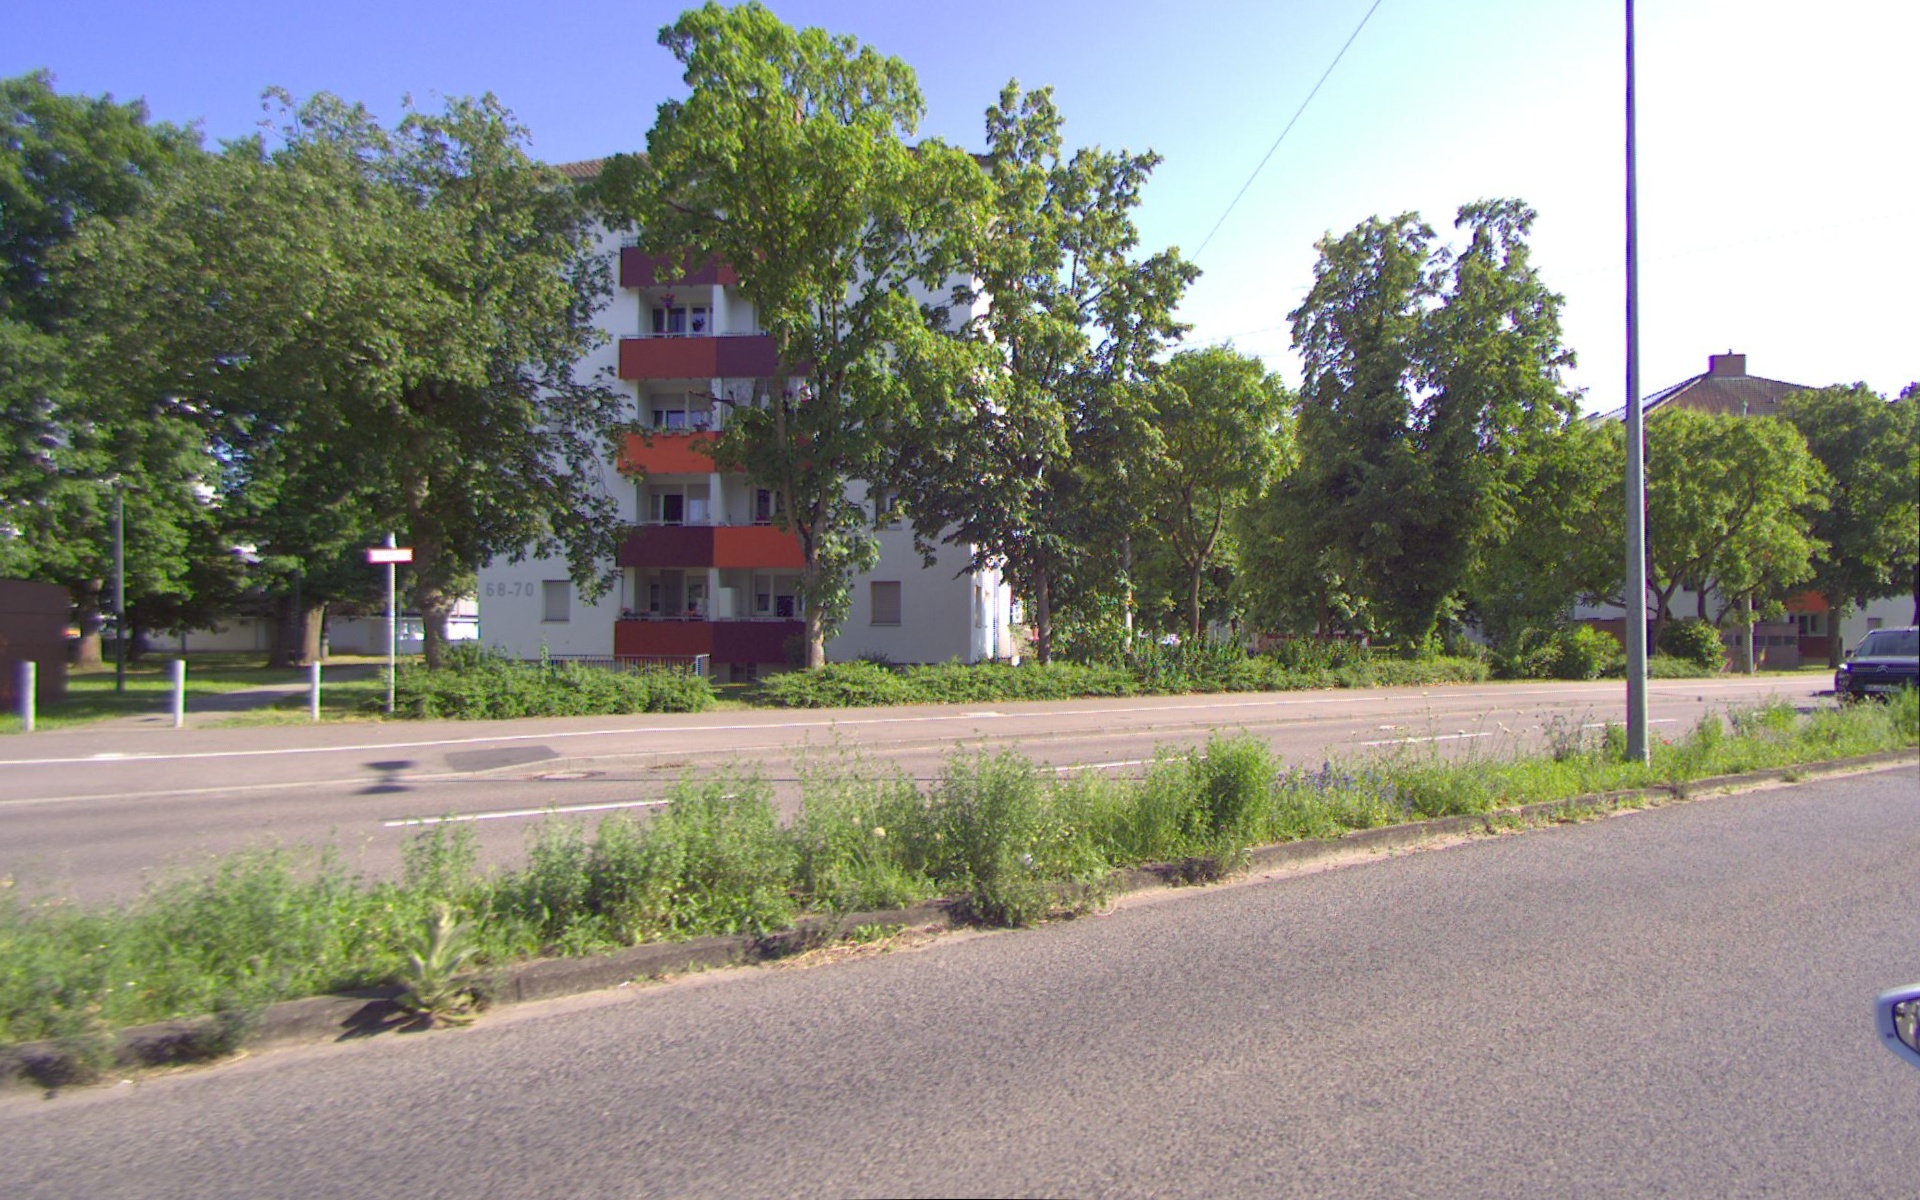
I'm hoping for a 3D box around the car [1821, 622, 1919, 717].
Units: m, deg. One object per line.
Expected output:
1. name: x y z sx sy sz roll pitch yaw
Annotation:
1. car: 19.935 1.403 20.919 4.430 1.807 1.781 2 -2 -32
